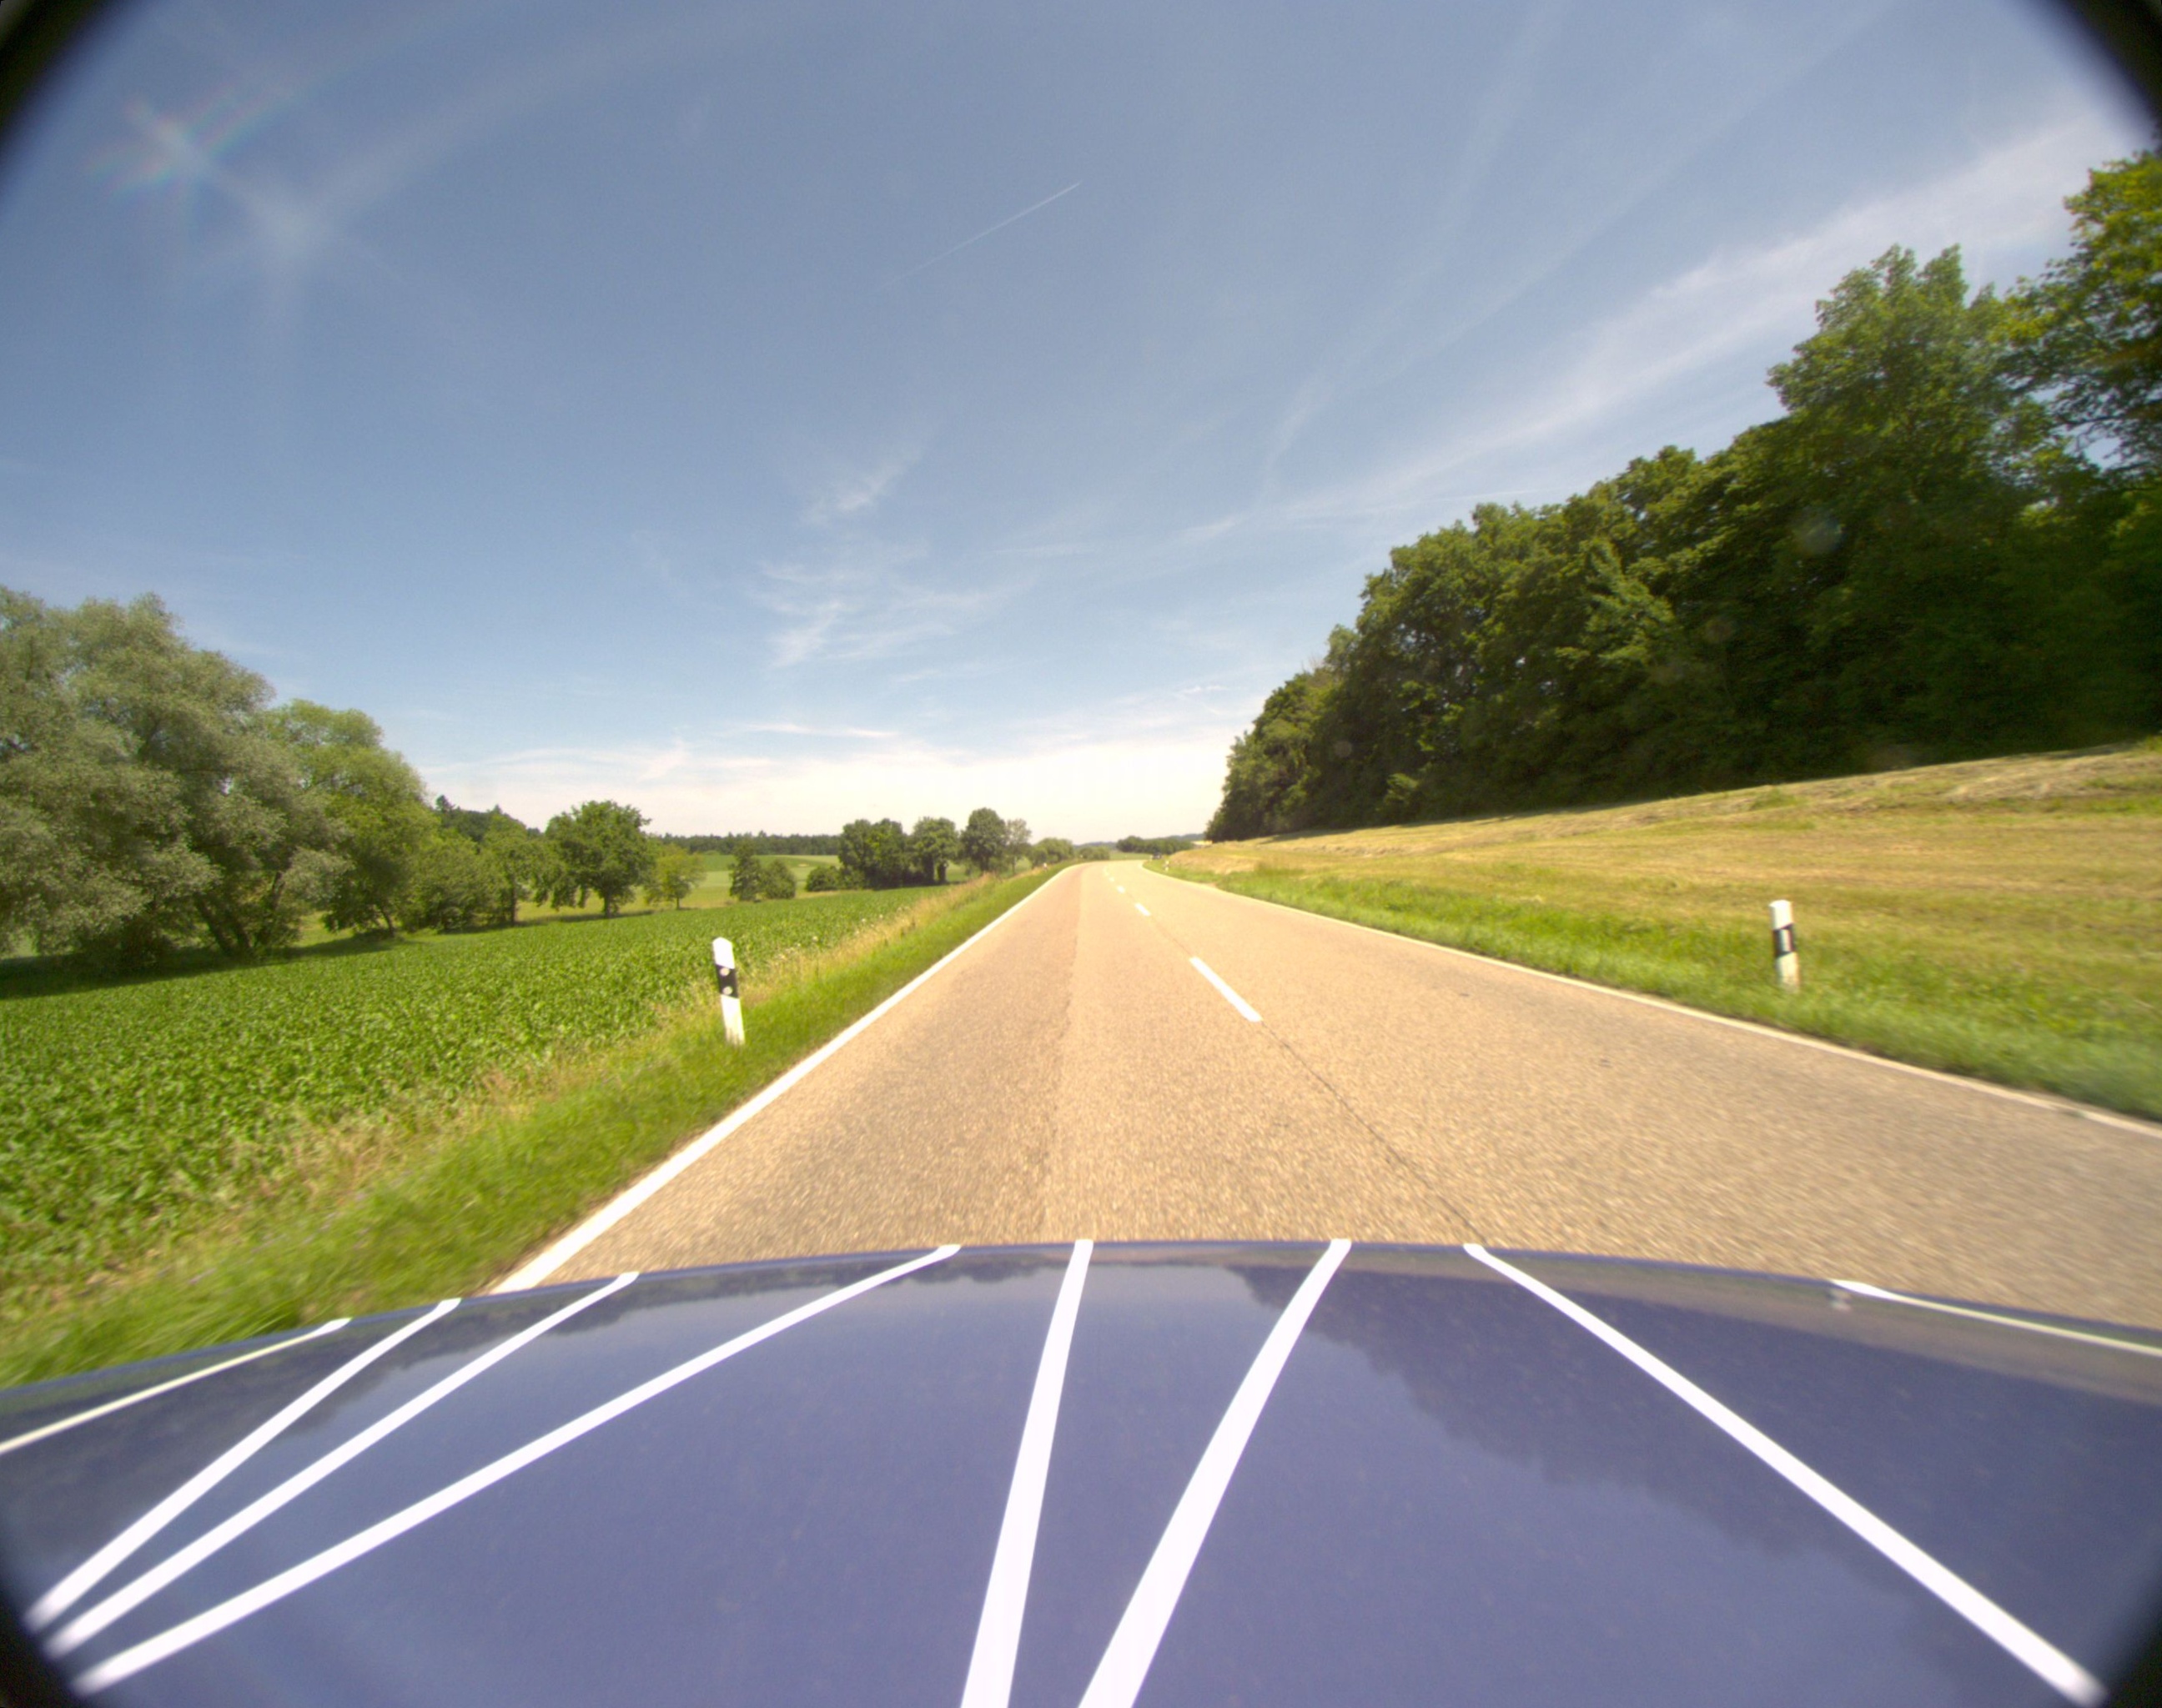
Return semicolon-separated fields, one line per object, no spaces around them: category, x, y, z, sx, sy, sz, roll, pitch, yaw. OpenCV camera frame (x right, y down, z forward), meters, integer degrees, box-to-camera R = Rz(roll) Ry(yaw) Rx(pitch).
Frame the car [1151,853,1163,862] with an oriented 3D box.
car;18.026;0.862;180.355;1.813;1.569;4.161;5;-2;16
